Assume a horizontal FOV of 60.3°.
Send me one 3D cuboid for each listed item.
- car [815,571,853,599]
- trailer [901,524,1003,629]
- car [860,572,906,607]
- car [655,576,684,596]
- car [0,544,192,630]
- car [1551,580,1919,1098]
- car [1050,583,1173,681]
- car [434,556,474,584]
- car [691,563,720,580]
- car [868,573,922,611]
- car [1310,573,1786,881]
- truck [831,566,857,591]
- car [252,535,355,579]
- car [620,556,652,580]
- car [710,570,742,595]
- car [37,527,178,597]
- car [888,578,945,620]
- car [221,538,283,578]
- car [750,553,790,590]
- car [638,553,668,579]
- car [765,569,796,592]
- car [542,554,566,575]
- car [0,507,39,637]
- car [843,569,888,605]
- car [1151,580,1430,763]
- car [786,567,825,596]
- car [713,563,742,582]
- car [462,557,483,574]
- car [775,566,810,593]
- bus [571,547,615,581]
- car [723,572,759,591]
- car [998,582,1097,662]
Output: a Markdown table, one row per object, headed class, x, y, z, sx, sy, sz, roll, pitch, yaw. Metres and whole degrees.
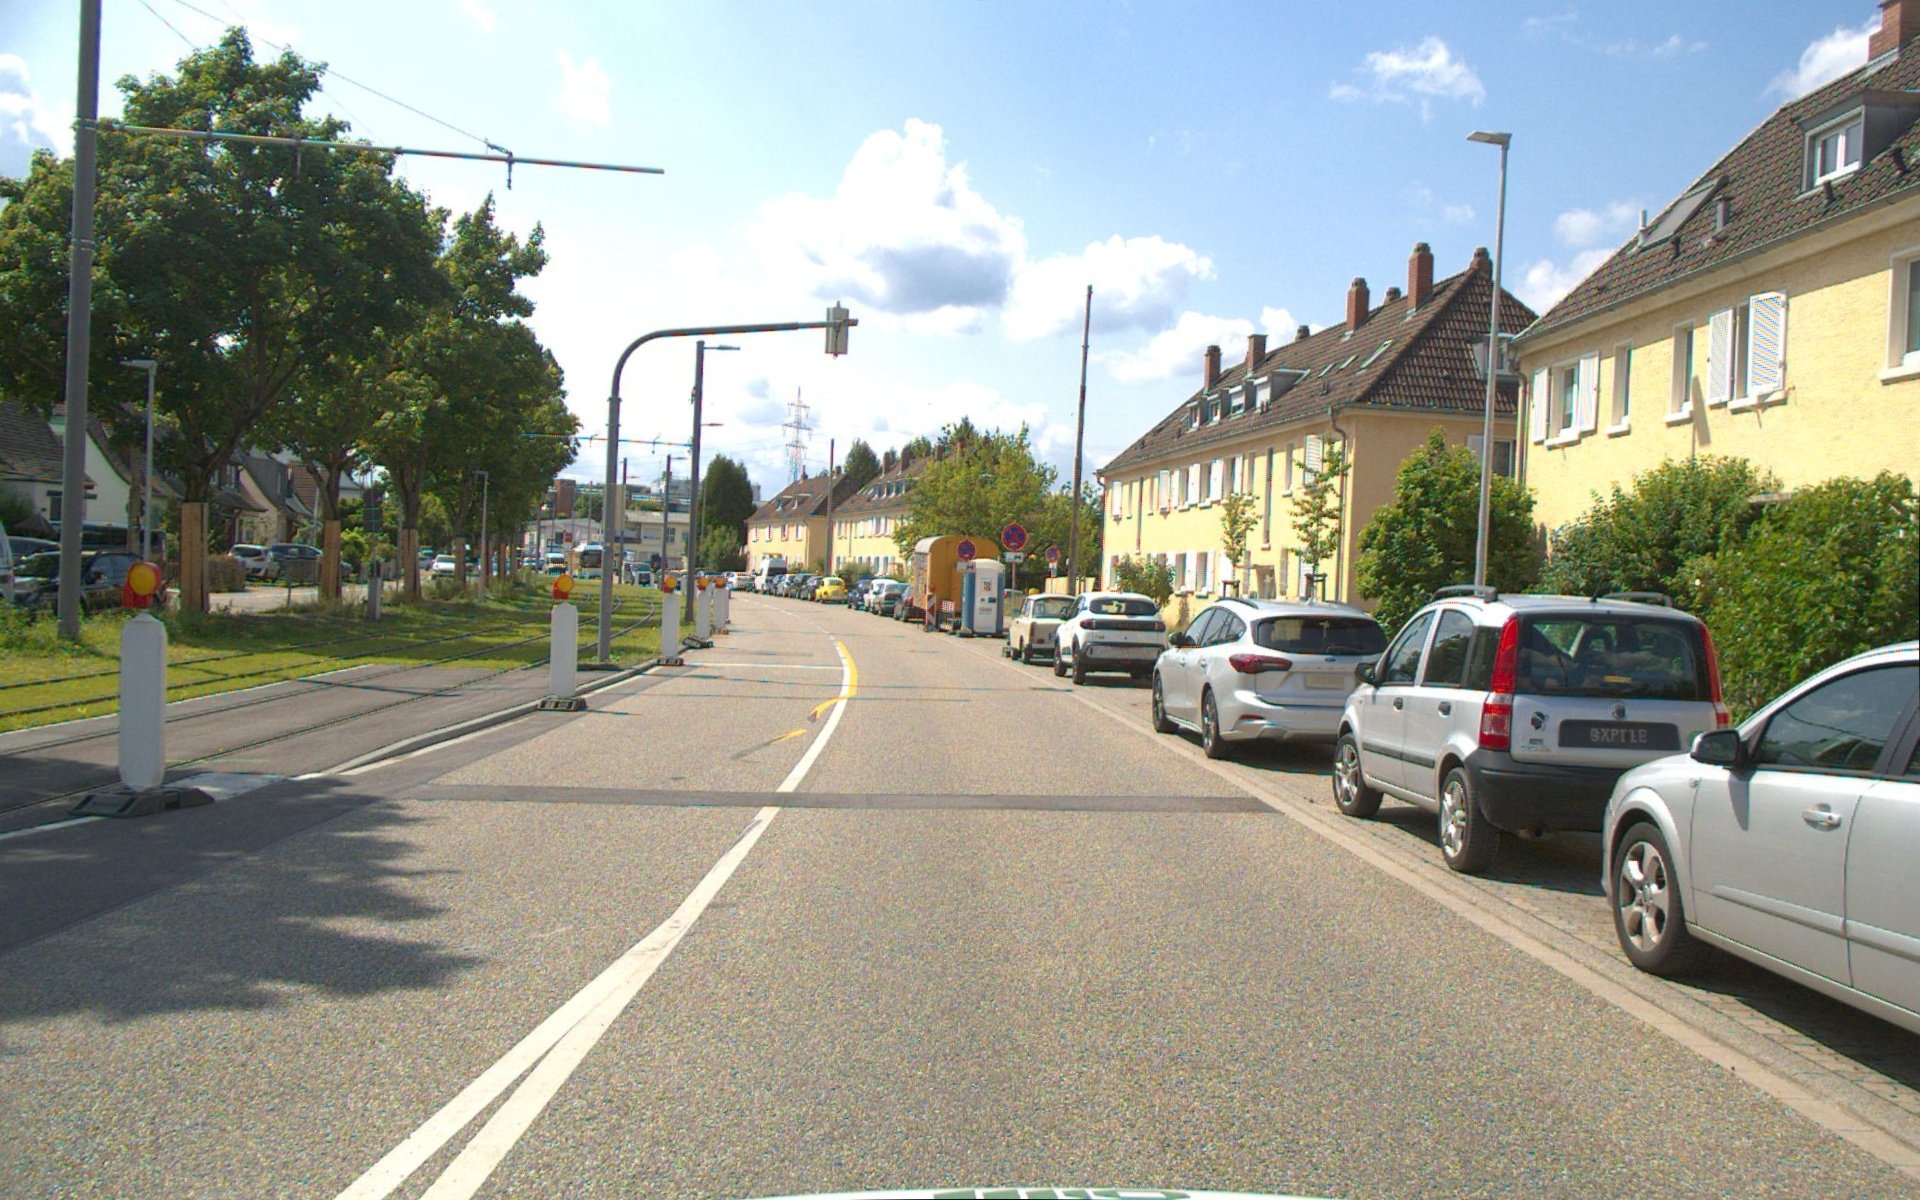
| class | x | y | z | sx | sy | sz | roll | pitch | yaw |
| --- | --- | --- | --- | --- | --- | --- | --- | --- | --- |
| car | -7.219 | -0.882 | 94.661 | 1.608 | 1.508 | 3.919 | 0 | 2 | -13 |
| trailer | -0.351 | -0.808 | 56.163 | 2.640 | 3.282 | 5.072 | 2 | 1 | -9 |
| car | -3.648 | -0.516 | 77.334 | 1.549 | 1.539 | 4.449 | 2 | 1 | -10 |
| car | -21.806 | -1.077 | 124.256 | 1.696 | 1.413 | 4.104 | 2 | 1 | -16 |
| car | -16.294 | -0.272 | 30.658 | 1.814 | 1.411 | 4.809 | 3 | 1 | 0 |
| car | 3.679 | 0.734 | 5.527 | 1.673 | 1.530 | 4.253 | 2 | 1 | -3 |
| car | 2.519 | 0.490 | 28.221 | 1.497 | 1.507 | 3.807 | 2 | 1 | -3 |
| car | -34.523 | -2.059 | 112.960 | 1.847 | 1.799 | 5.072 | 2 | 1 | -9 |
| car | -22.222 | -2.520 | 144.230 | 1.738 | 1.441 | 3.978 | 0 | 1 | -20 |
| car | -2.884 | -0.375 | 72.306 | 1.676 | 1.474 | 4.824 | 3 | 1 | -10 |
| car | 3.493 | 0.648 | 10.588 | 1.595 | 1.577 | 3.809 | 2 | 1 | -1 |
| truck | -8.255 | -1.557 | 117.568 | 1.324 | 1.718 | 2.431 | 2 | 0 | -16 |
| car | -32.199 | -2.105 | 81.277 | 4.396 | 1.868 | 2.057 | 3 | 1 | -15 |
| car | -28.016 | -2.802 | 142.976 | 1.926 | 2.000 | 5.262 | 2 | 1 | -20 |
| car | -14.585 | -1.117 | 103.080 | 1.636 | 1.474 | 3.947 | 0 | 1 | -13 |
| car | -27.299 | -1.215 | 53.010 | 3.840 | 1.929 | 1.925 | 4 | 0 | -29 |
| car | -1.716 | -0.079 | 64.523 | 1.549 | 1.474 | 4.443 | 2 | 1 | -10 |
| car | -30.045 | -1.774 | 70.267 | 1.699 | 1.544 | 4.031 | 3 | 1 | -13 |
| car | -13.643 | -2.056 | 118.489 | 1.898 | 2.524 | 5.493 | 1 | 1 | -16 |
| car | -31.556 | -3.528 | 169.875 | 1.931 | 2.521 | 6.023 | 0 | 1 | -21 |
| car | -12.303 | -1.359 | 113.327 | 1.511 | 1.470 | 3.722 | 3 | 1 | -15 |
| car | -49.280 | -4.331 | 200.930 | 2.072 | 2.485 | 5.537 | 3 | 1 | -21 |
| car | -16.002 | -0.471 | 24.659 | 1.954 | 2.048 | 4.900 | 3 | 1 | -4 |
| car | -4.730 | -0.656 | 82.346 | 1.522 | 1.669 | 4.233 | 2 | 1 | -13 |
| car | 3.095 | 0.589 | 16.405 | 1.714 | 1.524 | 4.384 | 2 | 1 | -2 |
| car | -9.827 | -1.186 | 104.898 | 1.610 | 1.630 | 3.913 | 3 | 1 | -17 |
| car | -19.089 | -2.274 | 135.857 | 1.597 | 1.441 | 3.978 | 0 | 1 | -20 |
| car | -46.188 | -3.260 | 156.745 | 1.702 | 1.531 | 4.544 | 0 | 1 | -19 |
| car | -11.012 | -1.342 | 108.735 | 1.609 | 1.630 | 4.013 | 3 | 1 | -15 |
| bus | -39.021 | -3.853 | 175.627 | 2.599 | 3.471 | 12.170 | 1 | 1 | -22 |
| car | -17.337 | -1.475 | 130.705 | 1.772 | 1.483 | 4.737 | 0 | 1 | -20 |
| car | 1.773 | 0.410 | 34.570 | 1.435 | 1.528 | 4.104 | 2 | 1 | -6 |
